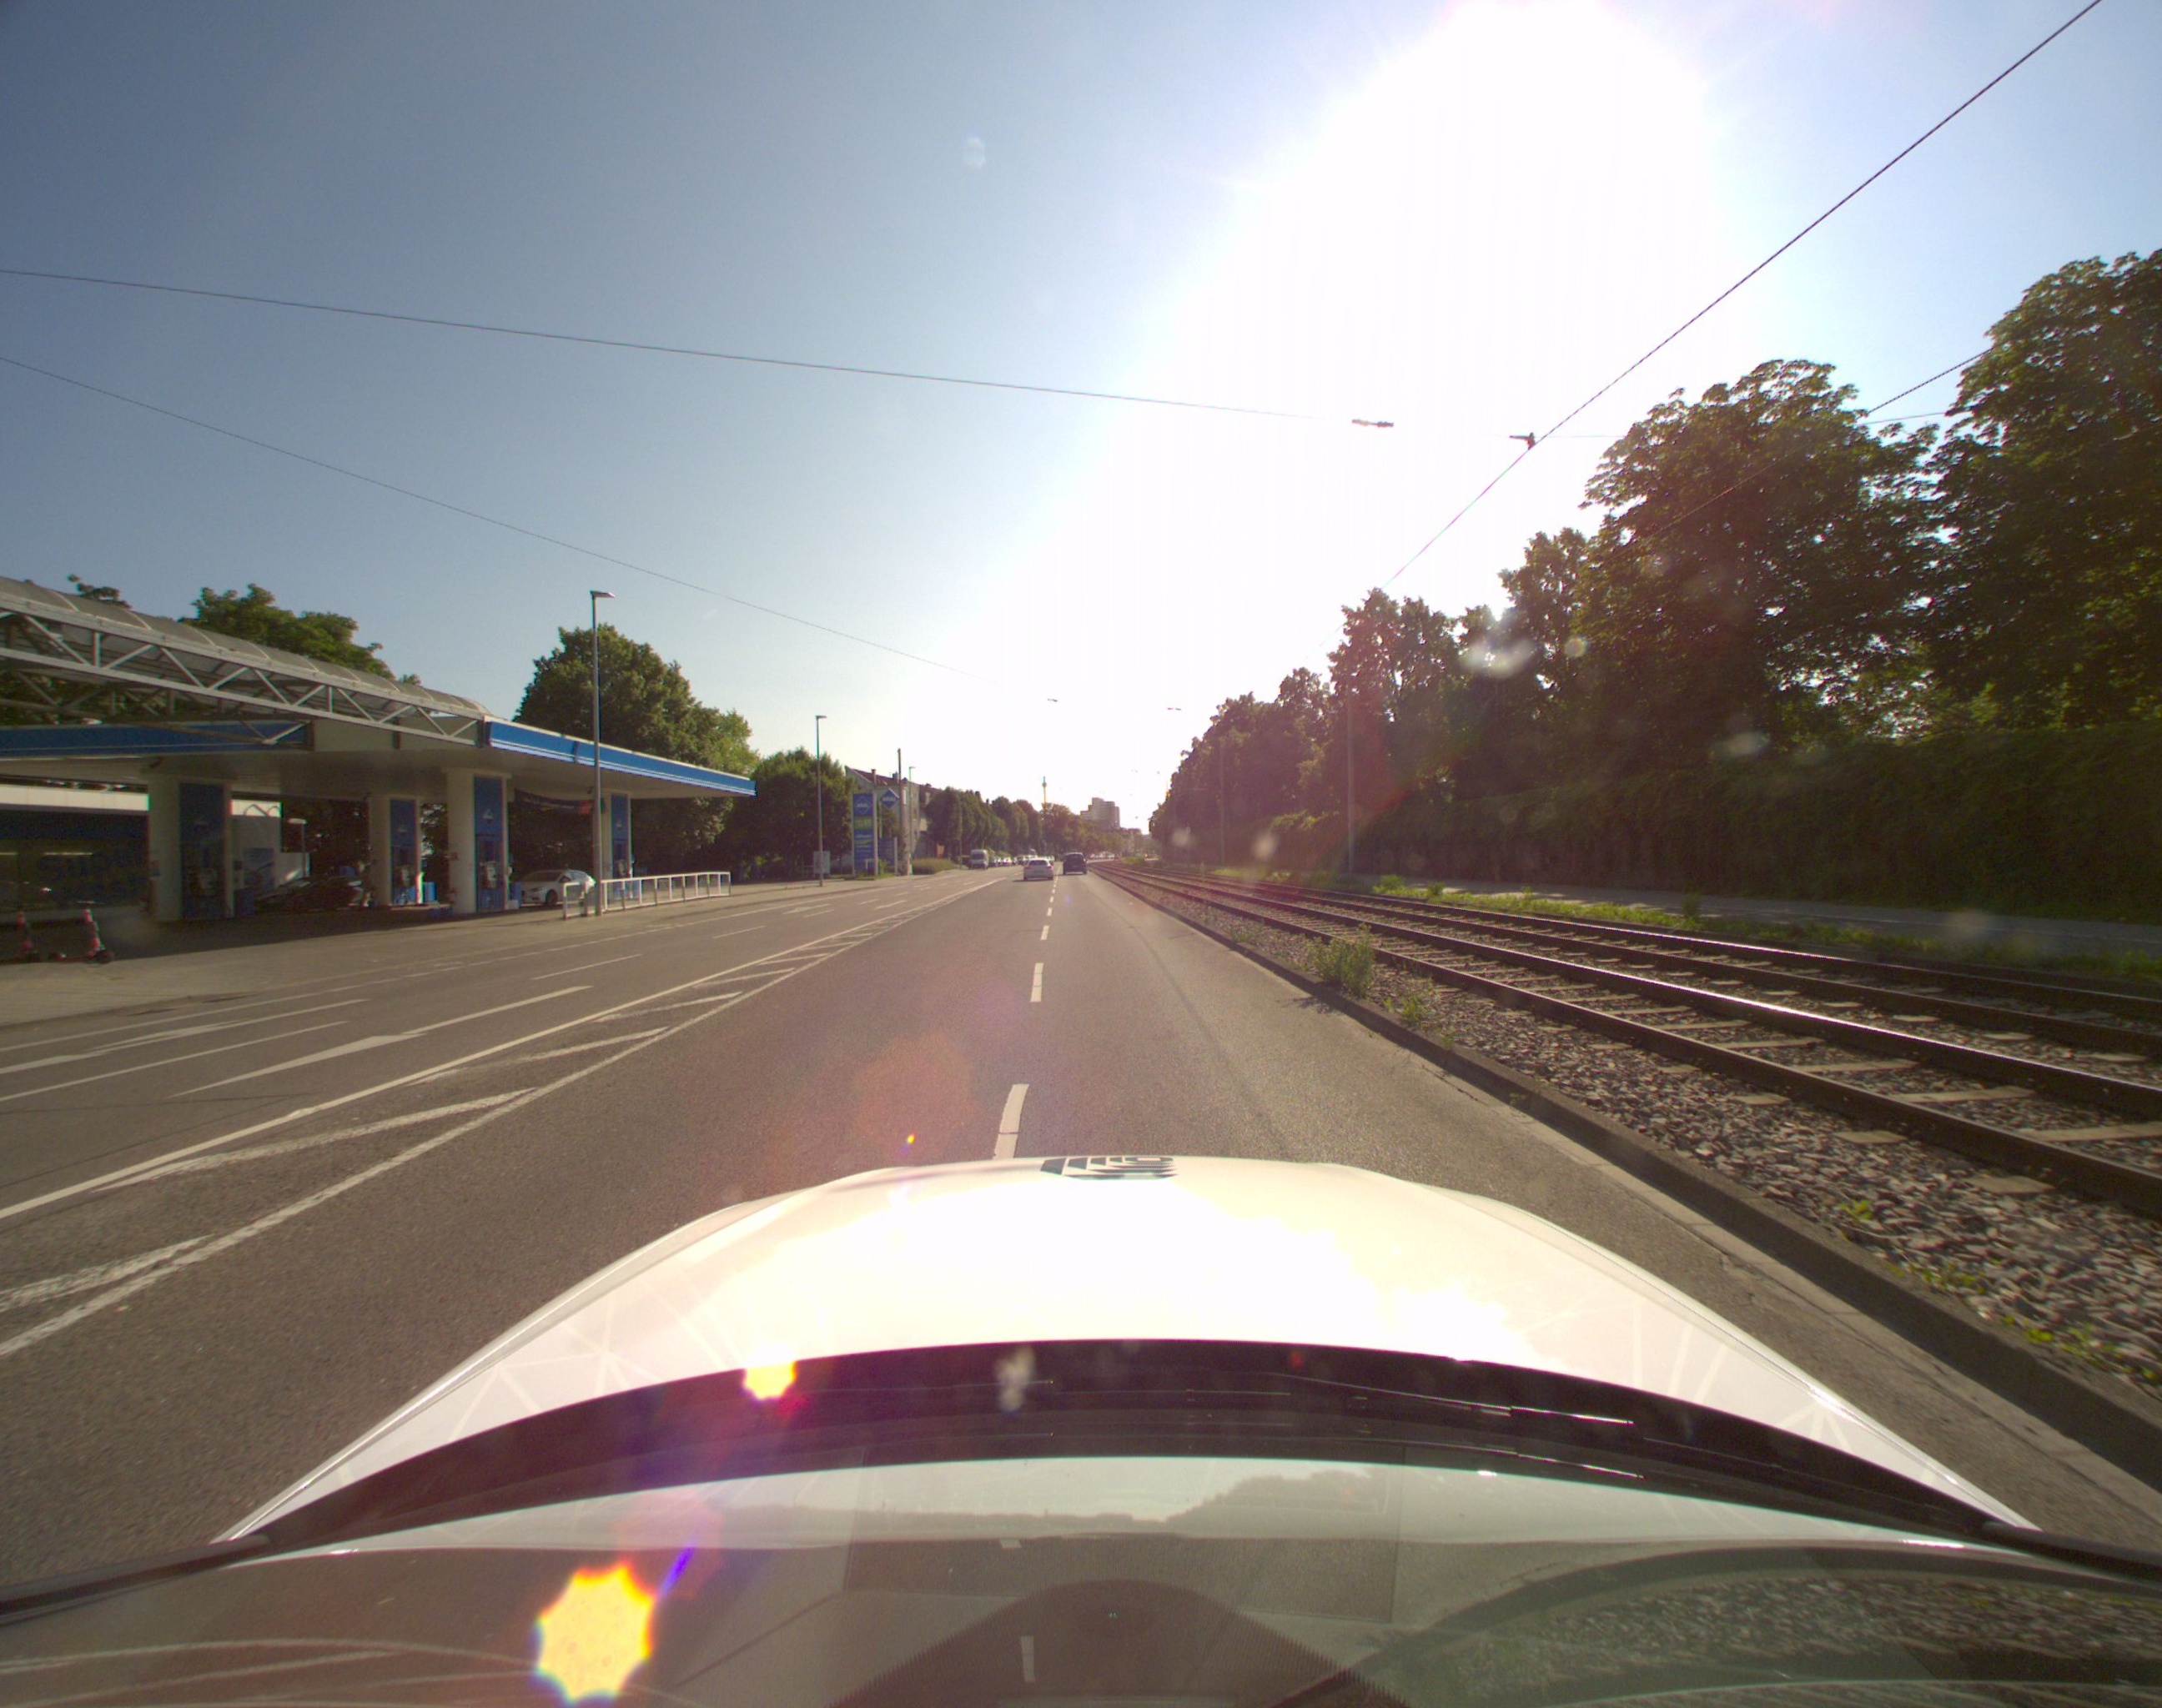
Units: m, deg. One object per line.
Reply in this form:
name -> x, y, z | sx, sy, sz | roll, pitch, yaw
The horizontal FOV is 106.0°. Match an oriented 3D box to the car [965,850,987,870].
car -> -13.093, 0.752, 101.891 | 1.986, 2.376, 4.540 | -2, 0, 2

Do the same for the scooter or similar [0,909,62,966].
scooter or similar -> -19.747, 1.541, 14.971 | 1.335, 0.985, 0.499 | -2, 0, -2

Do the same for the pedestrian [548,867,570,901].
pedestrian -> -27.246, 1.535, 42.491 | 0.662, 1.728, 0.846 | -2, 0, -14

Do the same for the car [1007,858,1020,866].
car -> -12.514, 1.455, 151.435 | 1.987, 1.416, 3.844 | -2, 0, 1

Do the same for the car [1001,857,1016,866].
car -> -12.417, 1.320, 139.741 | 1.987, 1.416, 3.844 | -2, 0, 1

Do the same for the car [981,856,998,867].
car -> -13.176, 1.108, 117.519 | 1.987, 1.416, 3.844 | -2, 0, 1

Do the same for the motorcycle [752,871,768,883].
motorcycle -> -25.868, 1.875, 65.680 | 0.669, 0.901, 1.670 | -2, 0, -1

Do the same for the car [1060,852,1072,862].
car -> -2.281, 0.466, 123.212 | 1.744, 1.485, 3.598 | 0, 0, -2

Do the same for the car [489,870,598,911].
car -> -21.473, 1.417, 32.752 | 1.740, 1.393, 4.117 | -2, 0, -2

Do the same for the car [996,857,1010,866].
car -> -12.807, 1.217, 133.895 | 1.987, 1.416, 3.844 | -2, 0, 1

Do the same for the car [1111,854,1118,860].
car -> 9.357, 0.903, 226.757 | 1.716, 1.593, 3.605 | 0, 0, 4

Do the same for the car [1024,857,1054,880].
car -> -2.575, 0.852, 50.391 | 1.776, 1.356, 3.599 | 0, 0, -2

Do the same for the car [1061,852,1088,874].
car -> -0.521, 0.679, 62.323 | 1.722, 1.593, 3.594 | 0, 0, -6

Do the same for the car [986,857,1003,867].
car -> -13.090, 1.153, 123.077 | 1.987, 1.416, 3.844 | -2, 0, 1

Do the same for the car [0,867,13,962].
car -> -24.298, 1.307, 15.770 | 4.522, 1.935, 2.000 | -2, 0, 0

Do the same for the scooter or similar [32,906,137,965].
scooter or similar -> -18.375, 1.501, 15.035 | 1.256, 0.987, 0.499 | -2, 0, -2

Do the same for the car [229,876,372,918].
car -> -30.798, 1.659, 32.332 | 1.740, 1.393, 4.117 | -2, 0, -2
